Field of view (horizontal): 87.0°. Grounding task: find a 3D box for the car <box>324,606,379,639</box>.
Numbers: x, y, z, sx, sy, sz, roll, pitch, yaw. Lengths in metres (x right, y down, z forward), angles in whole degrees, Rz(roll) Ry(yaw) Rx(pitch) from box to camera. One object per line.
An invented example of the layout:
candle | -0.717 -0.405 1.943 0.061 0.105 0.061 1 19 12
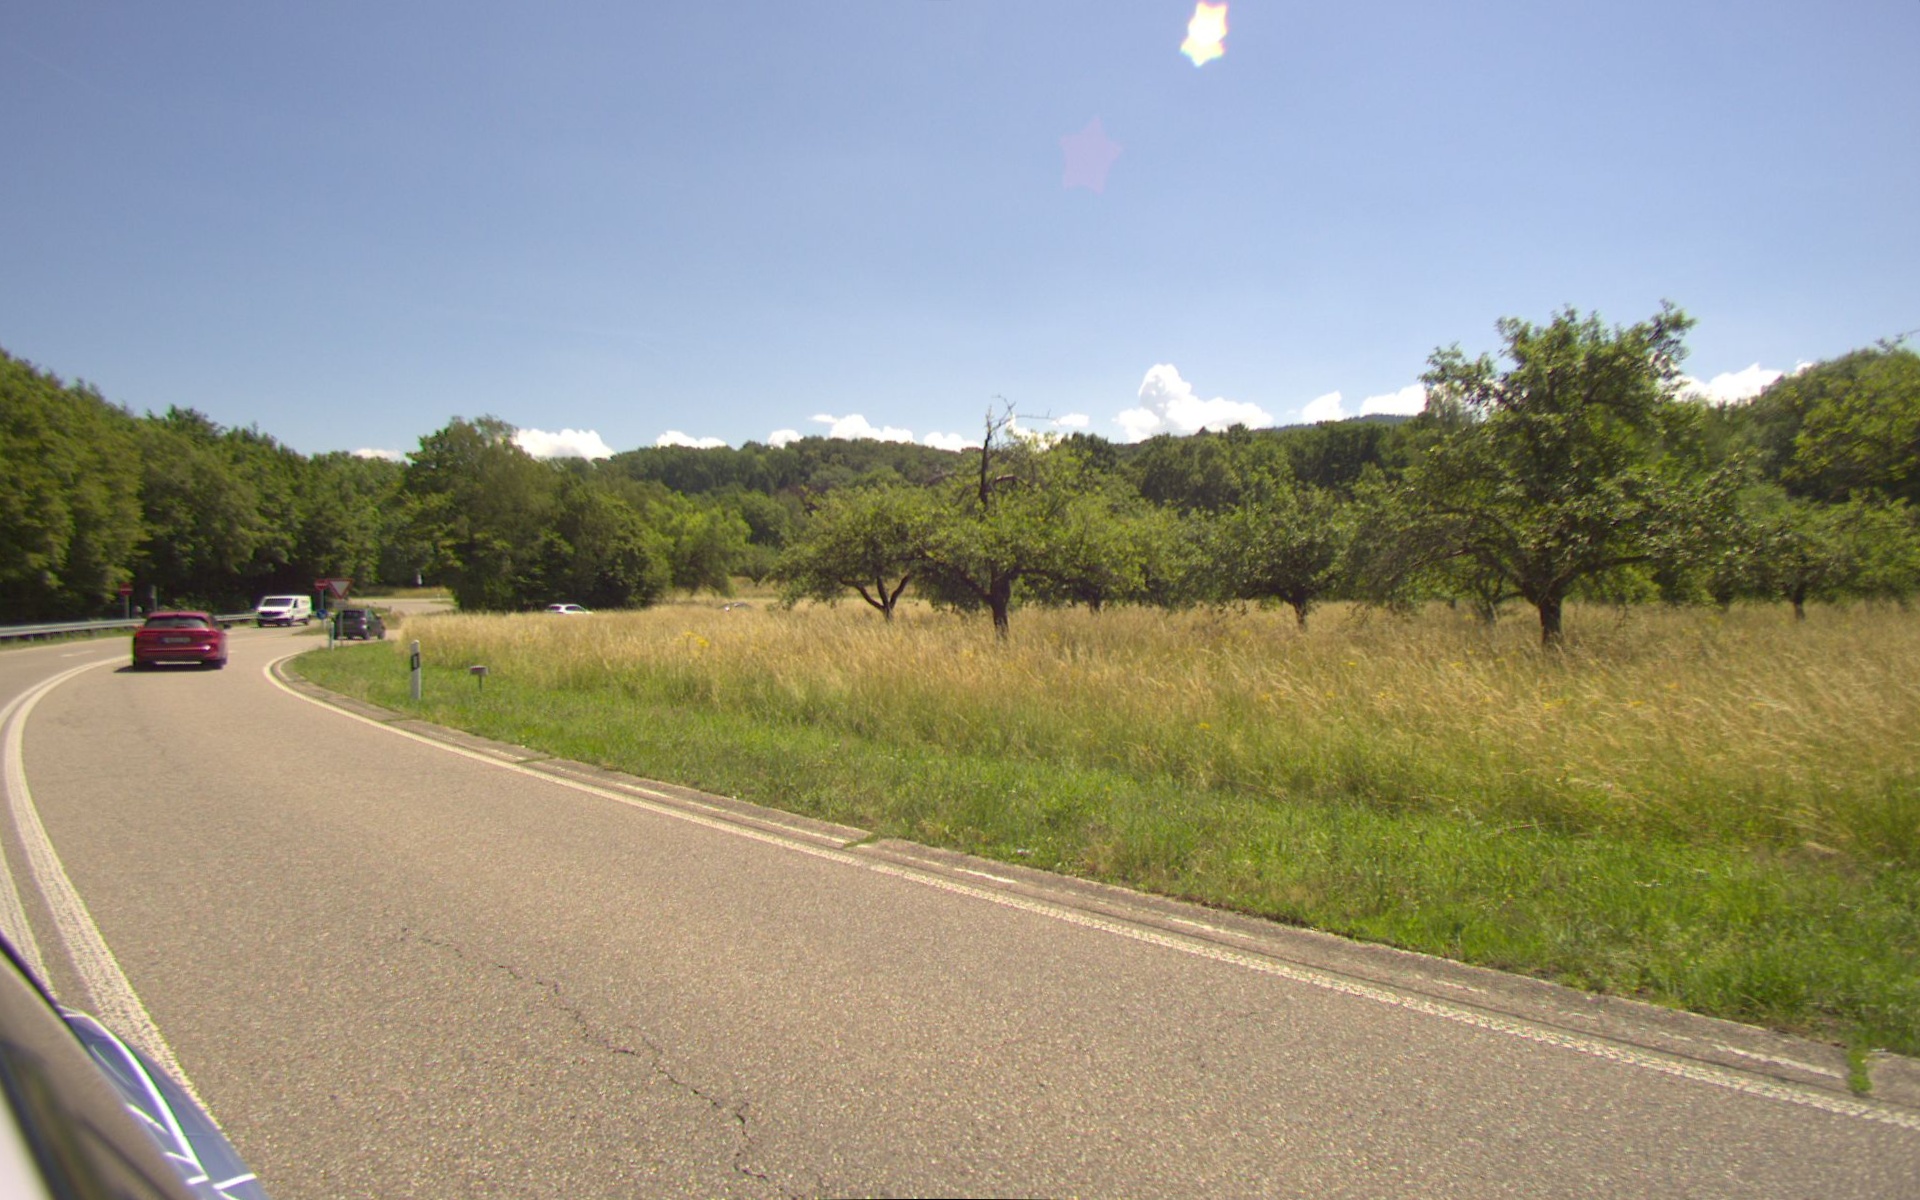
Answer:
car | -30.550 1.085 50.912 1.710 1.518 4.086 -2 1 -21

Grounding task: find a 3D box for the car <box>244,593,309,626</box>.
car | -44.765 0.591 66.425 2.188 2.048 5.445 -2 1 -20

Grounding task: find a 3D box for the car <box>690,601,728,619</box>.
car | -22.313 0.927 90.120 1.785 1.518 4.650 1 -1 5

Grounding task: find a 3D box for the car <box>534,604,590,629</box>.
car | -28.578 1.208 72.844 1.808 1.602 4.205 2 -1 10

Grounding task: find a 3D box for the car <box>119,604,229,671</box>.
car | -19.749 0.905 25.584 1.797 1.469 4.412 3 -1 -34
